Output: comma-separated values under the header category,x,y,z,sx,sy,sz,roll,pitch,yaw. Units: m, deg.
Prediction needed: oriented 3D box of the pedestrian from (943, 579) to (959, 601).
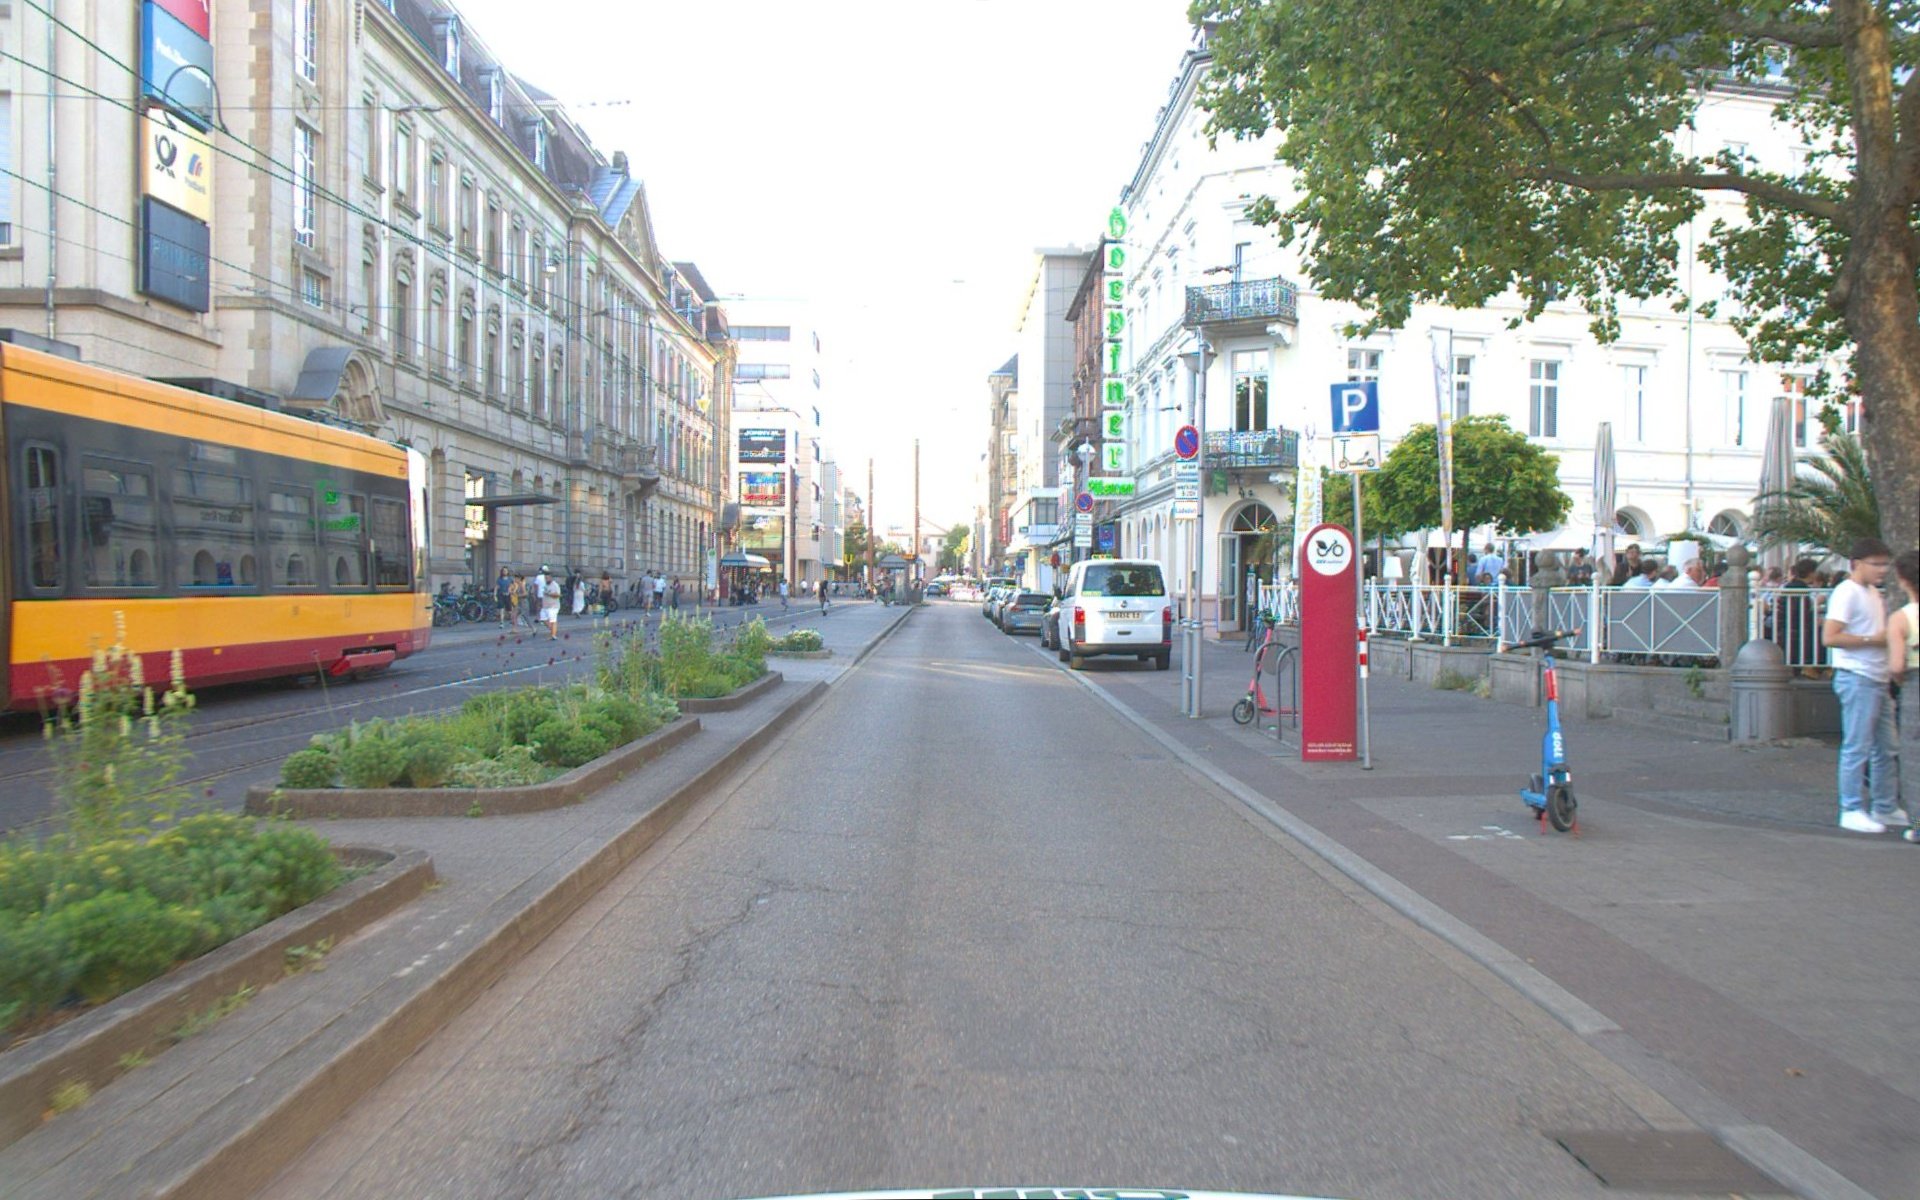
category,x,y,z,sx,sy,sz,roll,pitch,yaw
pedestrian,-0.783,-0.862,146.178,1.209,1.962,1.017,1,0,-17

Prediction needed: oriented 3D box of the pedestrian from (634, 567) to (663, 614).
category,x,y,z,sx,sy,sz,roll,pitch,yaw
pedestrian,-11.664,-0.351,62.001,1.030,1.715,0.906,0,-1,-10

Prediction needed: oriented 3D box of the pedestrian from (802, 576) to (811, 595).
category,x,y,z,sx,sy,sz,roll,pitch,yaw
pedestrian,-15.712,-1.481,169.003,0.831,1.962,0.908,0,0,0

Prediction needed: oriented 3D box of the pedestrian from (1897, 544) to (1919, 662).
category,x,y,z,sx,sy,sz,roll,pitch,yaw
pedestrian,10.788,0.038,18.438,0.464,1.307,0.540,0,-1,15

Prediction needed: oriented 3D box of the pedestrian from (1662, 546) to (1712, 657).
category,x,y,z,sx,sy,sz,roll,pitch,yaw
pedestrian,8.976,0.023,20.424,0.463,1.353,0.540,0,-1,14

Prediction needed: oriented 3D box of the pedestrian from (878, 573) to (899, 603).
category,x,y,z,sx,sy,sz,roll,pitch,yaw
pedestrian,-4.114,-0.675,94.874,1.026,1.715,0.909,0,-1,11

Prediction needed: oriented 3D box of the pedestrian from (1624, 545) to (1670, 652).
category,x,y,z,sx,sy,sz,roll,pitch,yaw
pedestrian,8.991,-0.015,21.652,0.463,1.388,0.540,0,-1,14

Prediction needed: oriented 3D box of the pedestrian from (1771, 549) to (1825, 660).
category,x,y,z,sx,sy,sz,roll,pitch,yaw
pedestrian,10.049,0.060,19.845,0.463,1.307,0.540,0,-1,14

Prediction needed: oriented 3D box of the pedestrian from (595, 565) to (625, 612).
category,x,y,z,sx,sy,sz,roll,pitch,yaw
pedestrian,-12.883,-0.424,60.944,1.030,1.715,0.906,0,-1,-10

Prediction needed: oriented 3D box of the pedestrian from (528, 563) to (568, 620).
category,x,y,z,sx,sy,sz,roll,pitch,yaw
pedestrian,-12.418,-0.242,49.831,0.860,1.682,0.876,0,-1,13

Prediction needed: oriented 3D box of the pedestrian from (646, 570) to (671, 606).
category,x,y,z,sx,sy,sz,roll,pitch,yaw
pedestrian,-14.630,-0.593,80.304,1.033,1.715,0.903,1,0,-20

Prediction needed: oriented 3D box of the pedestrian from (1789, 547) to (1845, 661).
category,x,y,z,sx,sy,sz,roll,pitch,yaw
pedestrian,9.946,0.050,19.209,0.464,1.307,0.540,0,-1,15

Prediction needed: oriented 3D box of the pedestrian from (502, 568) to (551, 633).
category,x,y,z,sx,sy,sz,roll,pitch,yaw
pedestrian,-10.571,0.010,40.362,0.746,1.540,0.858,2,0,42

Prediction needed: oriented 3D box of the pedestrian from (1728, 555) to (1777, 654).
category,x,y,z,sx,sy,sz,roll,pitch,yaw
pedestrian,10.327,0.061,21.571,0.463,1.263,0.540,0,-1,14

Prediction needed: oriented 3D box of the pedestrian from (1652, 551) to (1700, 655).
category,x,y,z,sx,sy,sz,roll,pitch,yaw
pedestrian,9.087,0.041,21.007,0.463,1.307,0.540,0,-1,14

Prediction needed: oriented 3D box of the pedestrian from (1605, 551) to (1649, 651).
category,x,y,z,sx,sy,sz,roll,pitch,yaw
pedestrian,8.981,0.019,22.273,0.463,1.328,0.540,0,-1,14

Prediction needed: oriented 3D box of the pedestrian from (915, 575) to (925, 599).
category,x,y,z,sx,sy,sz,roll,pitch,yaw
pedestrian,-2.727,-0.867,111.545,0.601,1.550,0.619,0,-1,-9

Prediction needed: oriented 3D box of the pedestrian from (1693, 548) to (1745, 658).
category,x,y,z,sx,sy,sz,roll,pitch,yaw
pedestrian,9.087,0.040,19.815,0.463,1.307,0.540,0,-1,14

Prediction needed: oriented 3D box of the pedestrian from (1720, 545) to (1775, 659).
category,x,y,z,sx,sy,sz,roll,pitch,yaw
pedestrian,9.130,0.030,19.191,0.463,1.307,0.540,0,-1,14

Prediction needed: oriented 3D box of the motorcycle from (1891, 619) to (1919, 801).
category,x,y,z,sx,sy,sz,roll,pitch,yaw
motorcycle,6.459,0.724,10.046,0.446,1.178,2.031,0,0,-1

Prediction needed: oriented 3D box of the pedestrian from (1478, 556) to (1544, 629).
category,x,y,z,sx,sy,sz,roll,pitch,yaw
pedestrian,10.433,-0.135,31.336,0.944,1.360,0.905,0,-1,-1

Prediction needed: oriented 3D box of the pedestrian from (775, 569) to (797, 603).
category,x,y,z,sx,sy,sz,roll,pitch,yaw
pedestrian,-8.895,-0.710,84.695,1.027,1.715,0.908,1,1,-1

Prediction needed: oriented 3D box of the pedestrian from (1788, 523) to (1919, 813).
category,x,y,z,sx,sy,sz,roll,pitch,yaw
pedestrian,5.634,0.416,10.321,0.601,1.747,0.662,0,-1,1

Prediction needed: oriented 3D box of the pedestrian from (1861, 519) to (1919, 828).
category,x,y,z,sx,sy,sz,roll,pitch,yaw
pedestrian,5.771,0.423,9.649,0.664,1.747,0.654,0,-1,2

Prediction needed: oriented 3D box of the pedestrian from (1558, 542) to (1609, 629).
category,x,y,z,sx,sy,sz,roll,pitch,yaw
pedestrian,12.082,-0.265,32.071,0.742,1.672,0.659,0,-1,-1

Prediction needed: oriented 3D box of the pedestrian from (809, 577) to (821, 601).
category,x,y,z,sx,sy,sz,roll,pitch,yaw
pedestrian,-12.134,-0.934,138.520,0.891,1.962,0.847,0,0,-17

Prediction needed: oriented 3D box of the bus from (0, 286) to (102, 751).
category,x,y,z,sx,sy,sz,roll,pitch,yaw
bus,-8.988,-0.628,10.542,2.765,3.688,8.288,0,0,0

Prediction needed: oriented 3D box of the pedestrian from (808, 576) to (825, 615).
category,x,y,z,sx,sy,sz,roll,pitch,yaw
pedestrian,-6.289,-0.214,72.469,0.676,1.664,0.580,1,2,-8

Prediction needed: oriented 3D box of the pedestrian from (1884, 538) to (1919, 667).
category,x,y,z,sx,sy,sz,roll,pitch,yaw
pedestrian,10.055,0.031,17.179,0.630,1.307,0.741,0,-1,15

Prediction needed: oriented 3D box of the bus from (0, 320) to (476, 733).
category,x,y,z,sx,sy,sz,roll,pitch,yaw
bus,-9.127,-0.679,20.618,2.765,3.675,11.821,0,0,0

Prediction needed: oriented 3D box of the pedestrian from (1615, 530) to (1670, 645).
category,x,y,z,sx,sy,sz,roll,pitch,yaw
pedestrian,9.627,-0.166,23.349,0.605,1.599,0.631,0,-1,14

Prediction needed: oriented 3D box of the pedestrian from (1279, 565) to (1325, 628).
category,x,y,z,sx,sy,sz,roll,pitch,yaw
pedestrian,7.370,-0.064,35.672,0.806,1.329,0.869,0,-1,-1

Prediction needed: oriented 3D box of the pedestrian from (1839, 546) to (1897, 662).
category,x,y,z,sx,sy,sz,roll,pitch,yaw
pedestrian,10.342,0.050,18.847,0.466,1.307,0.525,0,-1,16

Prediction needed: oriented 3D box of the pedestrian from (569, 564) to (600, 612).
category,x,y,z,sx,sy,sz,roll,pitch,yaw
pedestrian,-13.564,-0.438,59.716,1.030,1.715,0.906,0,-1,-10

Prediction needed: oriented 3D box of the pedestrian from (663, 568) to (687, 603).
category,x,y,z,sx,sy,sz,roll,pitch,yaw
pedestrian,-14.158,-0.736,82.270,1.033,1.715,0.903,0,1,-20

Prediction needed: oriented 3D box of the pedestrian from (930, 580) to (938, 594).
category,x,y,z,sx,sy,sz,roll,pitch,yaw
pedestrian,-3.345,-1.685,214.561,0.768,1.765,0.809,-1,-2,39

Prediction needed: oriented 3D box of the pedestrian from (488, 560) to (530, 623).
category,x,y,z,sx,sy,sz,roll,pitch,yaw
pedestrian,-12.727,-0.235,46.742,0.854,1.740,1.131,0,-1,0

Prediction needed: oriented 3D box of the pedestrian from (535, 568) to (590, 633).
category,x,y,z,sx,sy,sz,roll,pitch,yaw
pedestrian,-9.574,0.018,39.844,0.706,1.540,1.031,1,0,42
